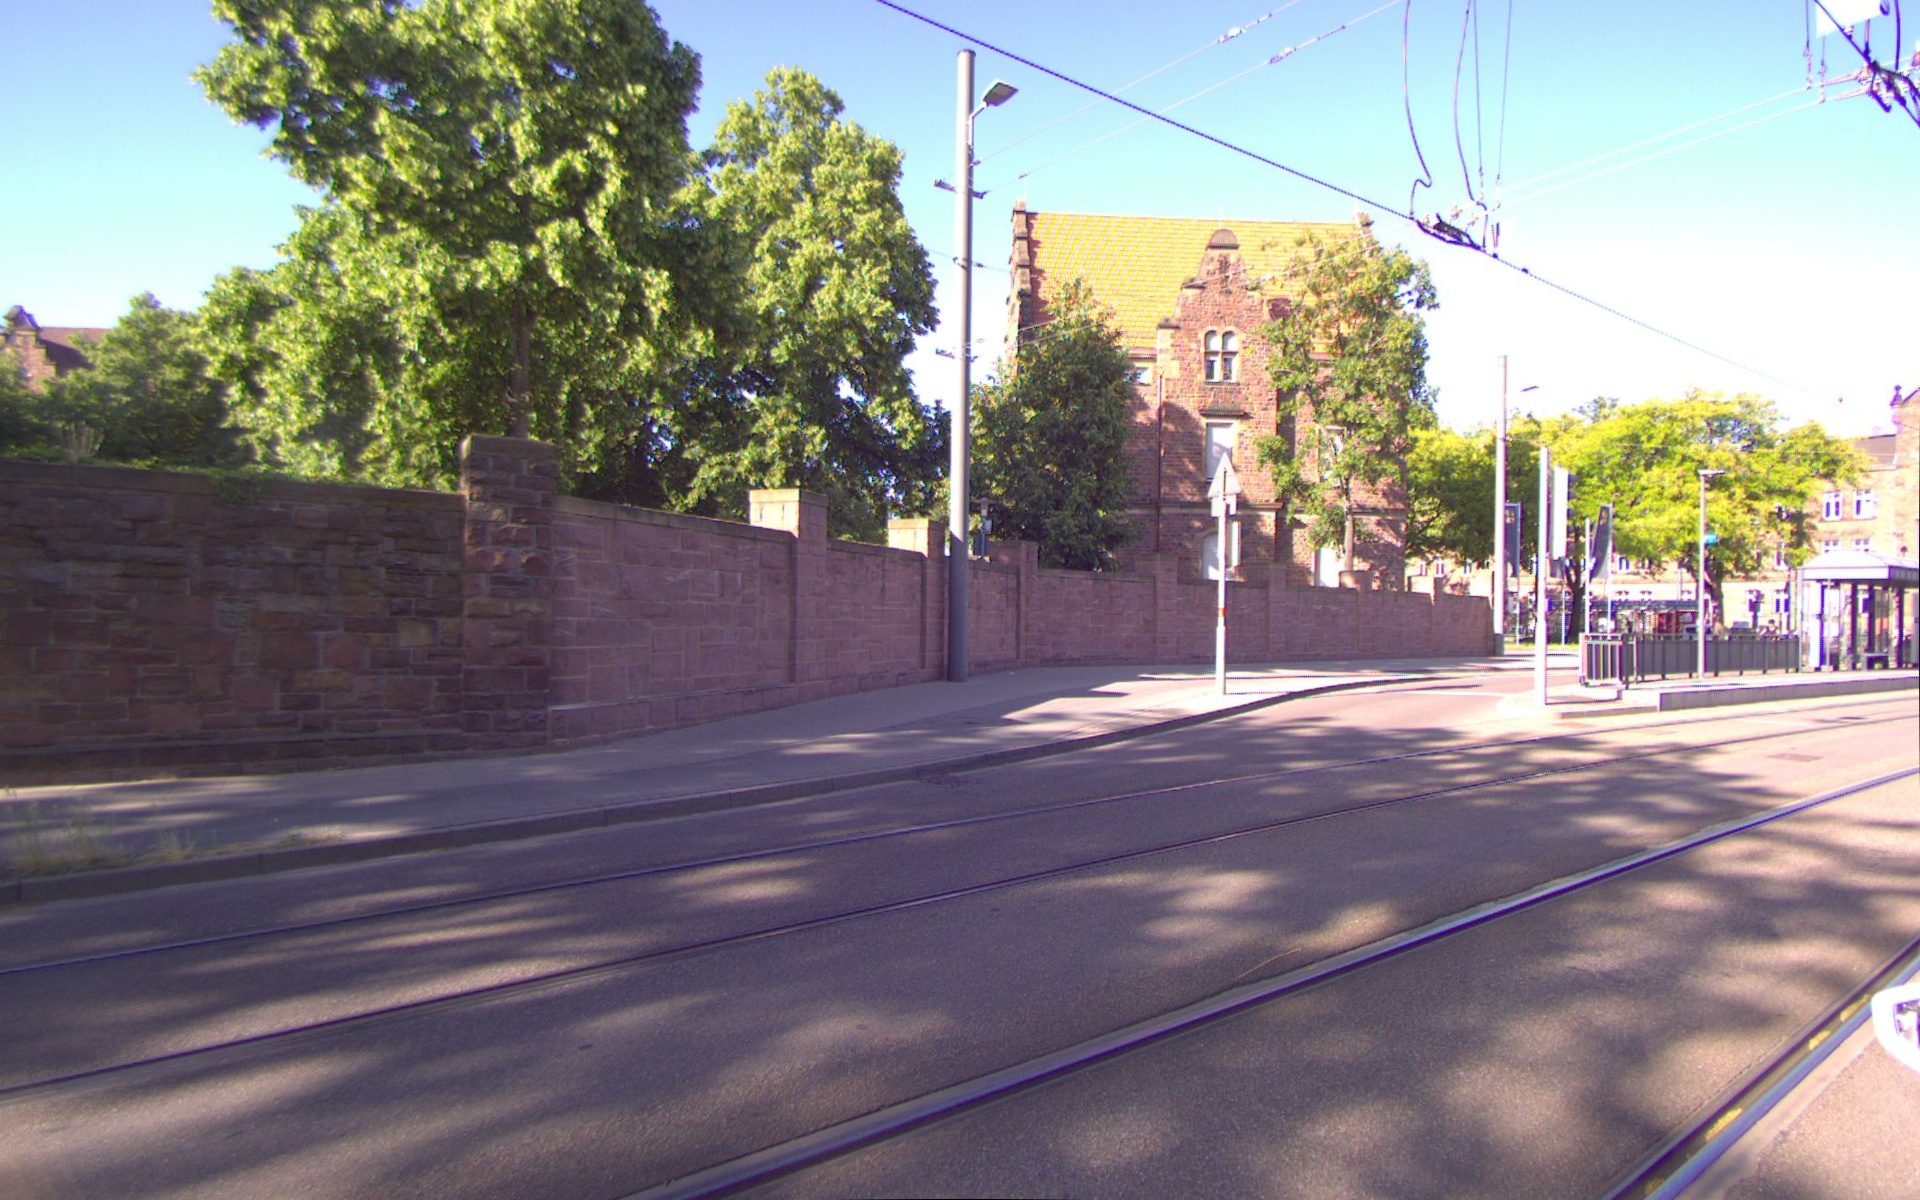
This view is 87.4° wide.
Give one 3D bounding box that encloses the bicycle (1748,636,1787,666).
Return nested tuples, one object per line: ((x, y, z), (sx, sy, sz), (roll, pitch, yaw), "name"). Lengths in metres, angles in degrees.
((31.110, 1.937, 38.698), (2.044, 1.103, 0.679), (1, 0, -36), "bicycle")

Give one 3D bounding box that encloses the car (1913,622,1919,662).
((41.785, 1.788, 42.047), (4.312, 1.628, 1.807), (1, -1, -33), "car")

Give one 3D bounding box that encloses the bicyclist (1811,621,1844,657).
((36.422, 1.622, 42.168), (1.137, 1.478, 0.650), (1, 0, -28), "bicyclist")

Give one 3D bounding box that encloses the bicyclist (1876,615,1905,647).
((44.713, 1.486, 48.259), (1.177, 1.490, 0.752), (1, 0, -32), "bicyclist")

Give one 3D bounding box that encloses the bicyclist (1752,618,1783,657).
((31.111, 1.424, 38.700), (1.140, 1.478, 0.648), (1, 0, -35), "bicyclist")

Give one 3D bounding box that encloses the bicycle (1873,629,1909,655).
((44.780, 2.023, 48.305), (1.931, 1.214, 0.810), (1, 0, -33), "bicycle")
